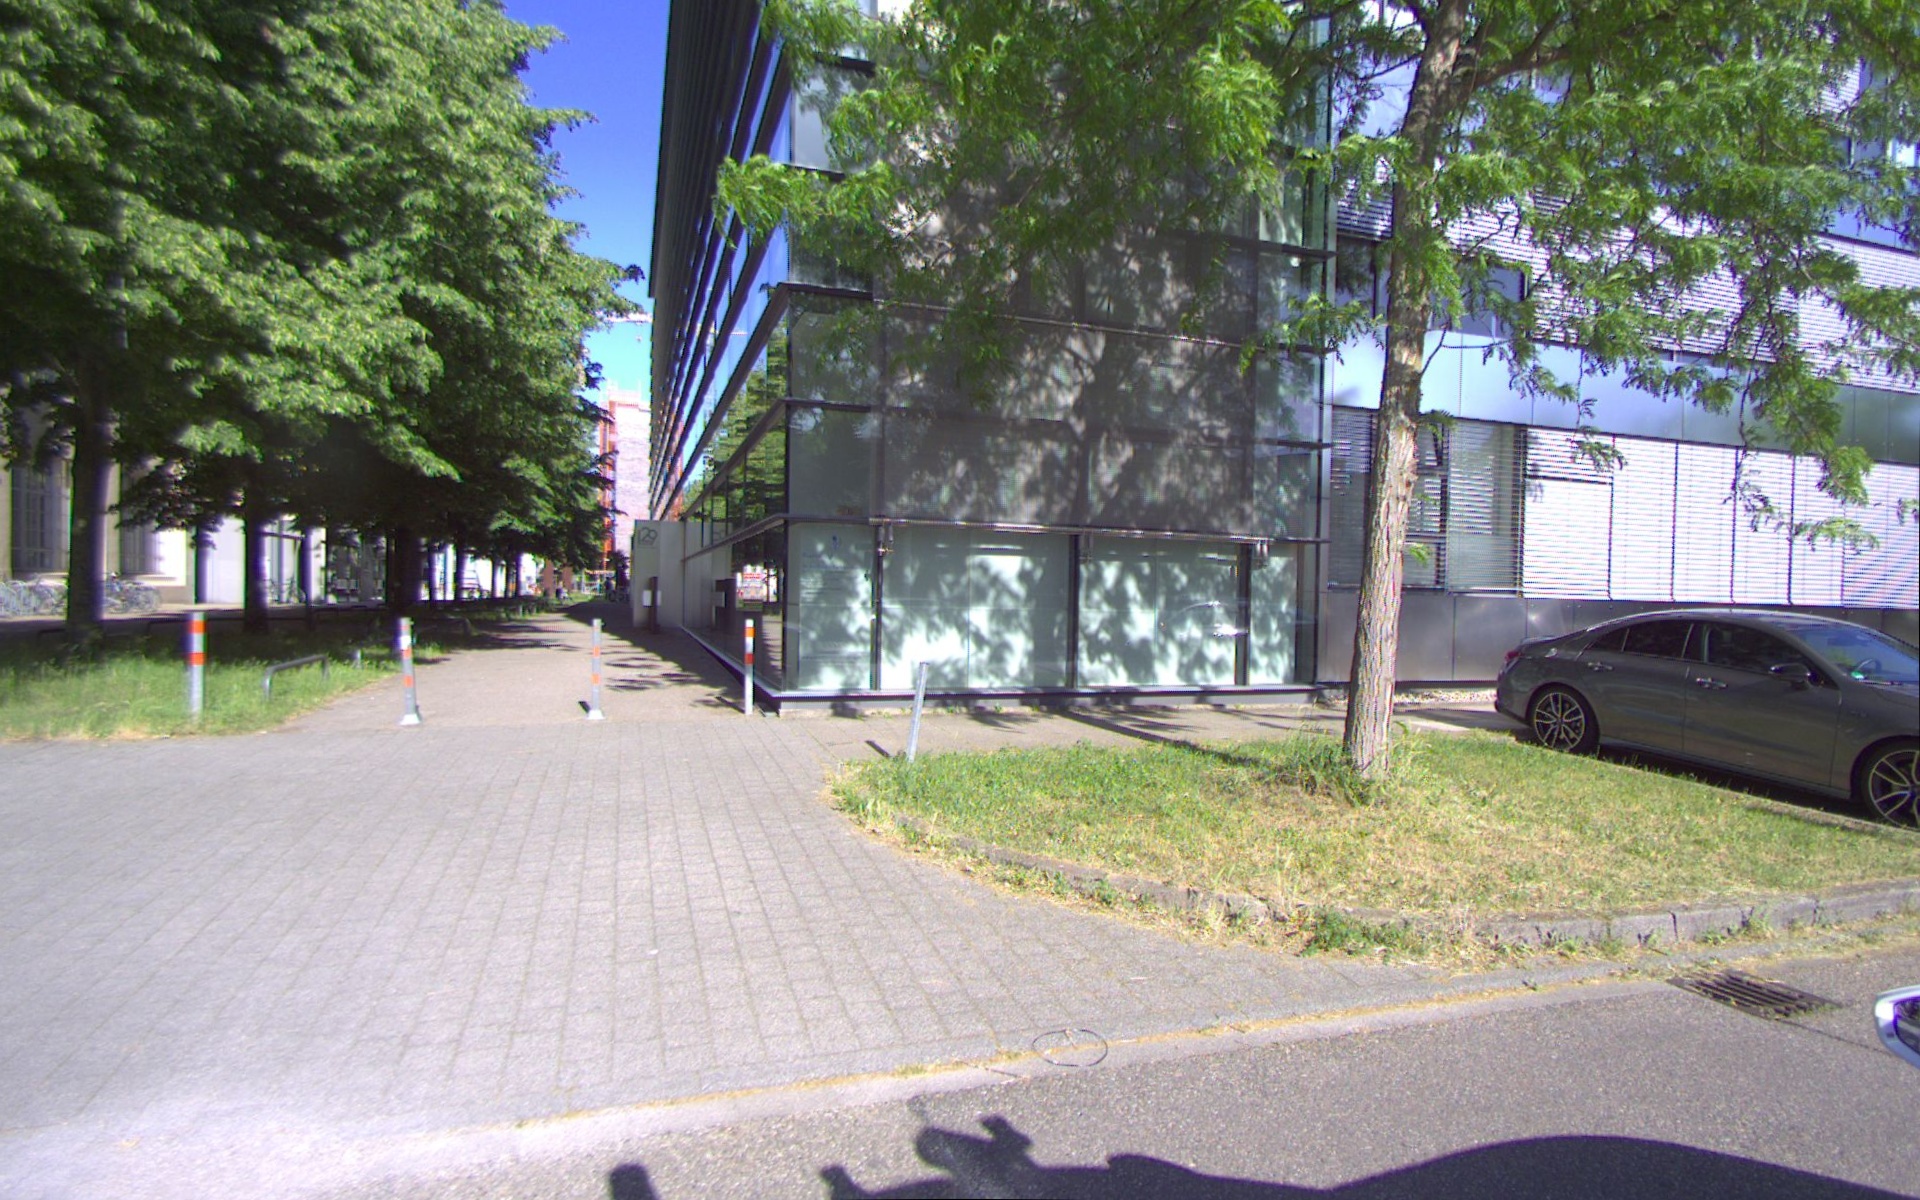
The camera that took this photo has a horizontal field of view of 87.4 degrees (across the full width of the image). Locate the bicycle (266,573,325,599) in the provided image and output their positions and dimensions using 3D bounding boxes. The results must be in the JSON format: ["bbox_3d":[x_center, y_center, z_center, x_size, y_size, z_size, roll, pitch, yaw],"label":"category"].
[{"bbox_3d":[-28.340,-0.585,42.861,2.031,1.080,0.505,1,1,-17],"label":"bicycle"}]

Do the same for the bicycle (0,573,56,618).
[{"bbox_3d":[-24.054,-0.128,24.597,2.766,1.077,0.715,1,1,-19],"label":"bicycle"}]

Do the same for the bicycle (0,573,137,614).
[{"bbox_3d":[-24.449,-0.172,27.556,2.770,1.077,0.714,1,1,-23],"label":"bicycle"}]

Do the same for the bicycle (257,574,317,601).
[{"bbox_3d":[-28.277,-0.537,42.240,2.031,1.080,0.505,1,1,-17],"label":"bicycle"}]

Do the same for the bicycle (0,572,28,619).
[{"bbox_3d":[-23.324,-0.130,23.021,2.770,1.077,0.714,1,1,-23],"label":"bicycle"}]

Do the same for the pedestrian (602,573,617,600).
[{"bbox_3d":[-20.079,-0.774,57.481,0.706,1.571,0.688,1,1,-12],"label":"pedestrian"}]

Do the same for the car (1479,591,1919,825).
[{"bbox_3d":[6.817,0.744,8.193,1.863,1.369,4.529,1,3,-19],"label":"car"}]

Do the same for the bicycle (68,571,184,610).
[{"bbox_3d":[-26.292,-0.292,31.709,2.701,1.166,0.714,1,1,-23],"label":"bicycle"}]

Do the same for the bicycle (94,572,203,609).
[{"bbox_3d":[-26.973,-0.301,33.428,2.701,1.166,0.714,1,1,-23],"label":"bicycle"}]

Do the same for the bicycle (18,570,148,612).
[{"bbox_3d":[-25.657,-0.248,29.450,2.770,1.166,0.714,1,1,-23],"label":"bicycle"}]

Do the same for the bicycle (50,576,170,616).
[{"bbox_3d":[-26.129,-0.120,30.938,2.701,1.166,0.714,1,1,-23],"label":"bicycle"}]
